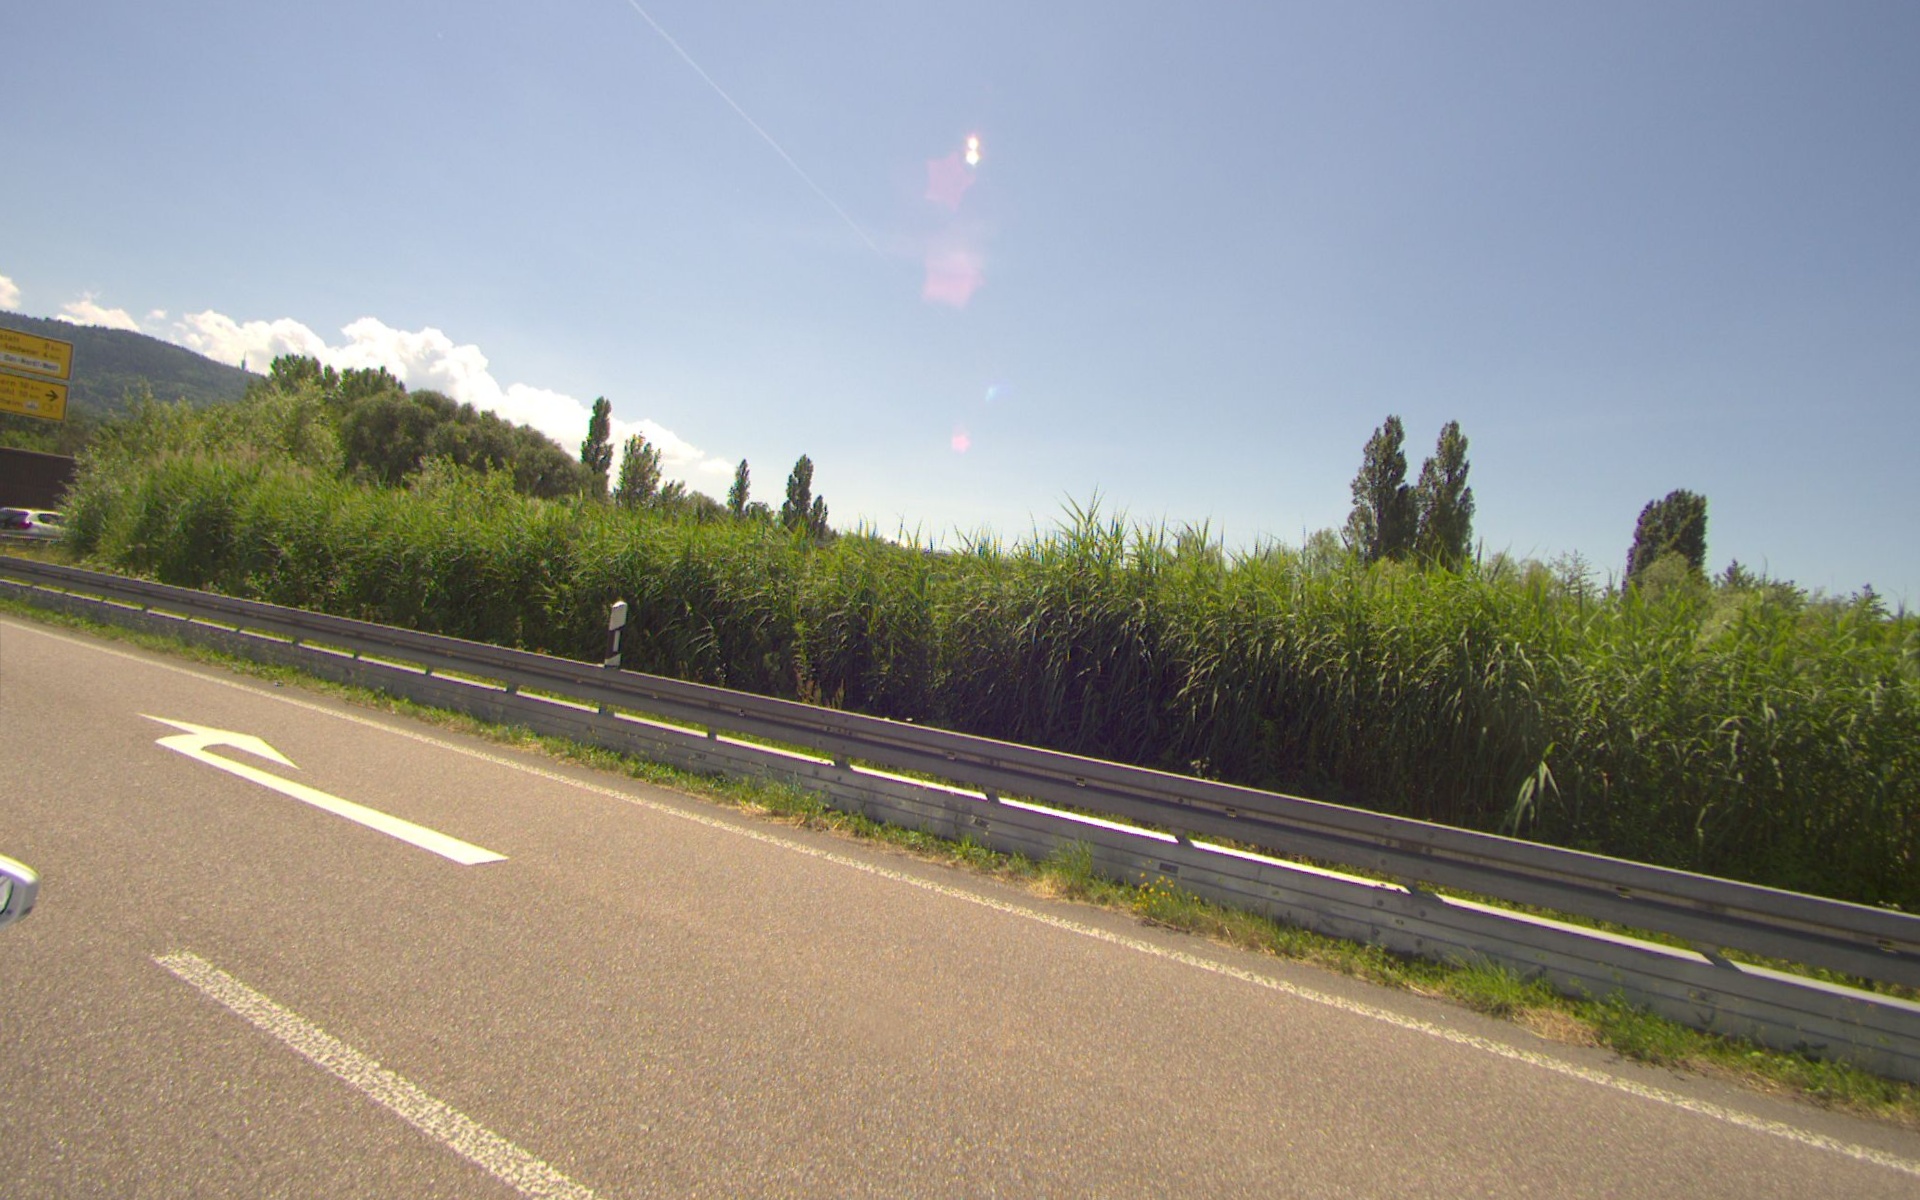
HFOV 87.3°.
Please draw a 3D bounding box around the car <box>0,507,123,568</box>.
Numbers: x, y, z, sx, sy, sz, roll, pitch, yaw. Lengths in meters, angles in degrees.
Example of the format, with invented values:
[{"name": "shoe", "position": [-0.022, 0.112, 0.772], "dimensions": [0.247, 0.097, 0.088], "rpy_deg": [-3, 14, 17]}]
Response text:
[{"name": "car", "position": [-29.600, -2.043, 32.607], "dimensions": [1.539, 1.494, 3.609], "rpy_deg": [7, -2, 7]}]
